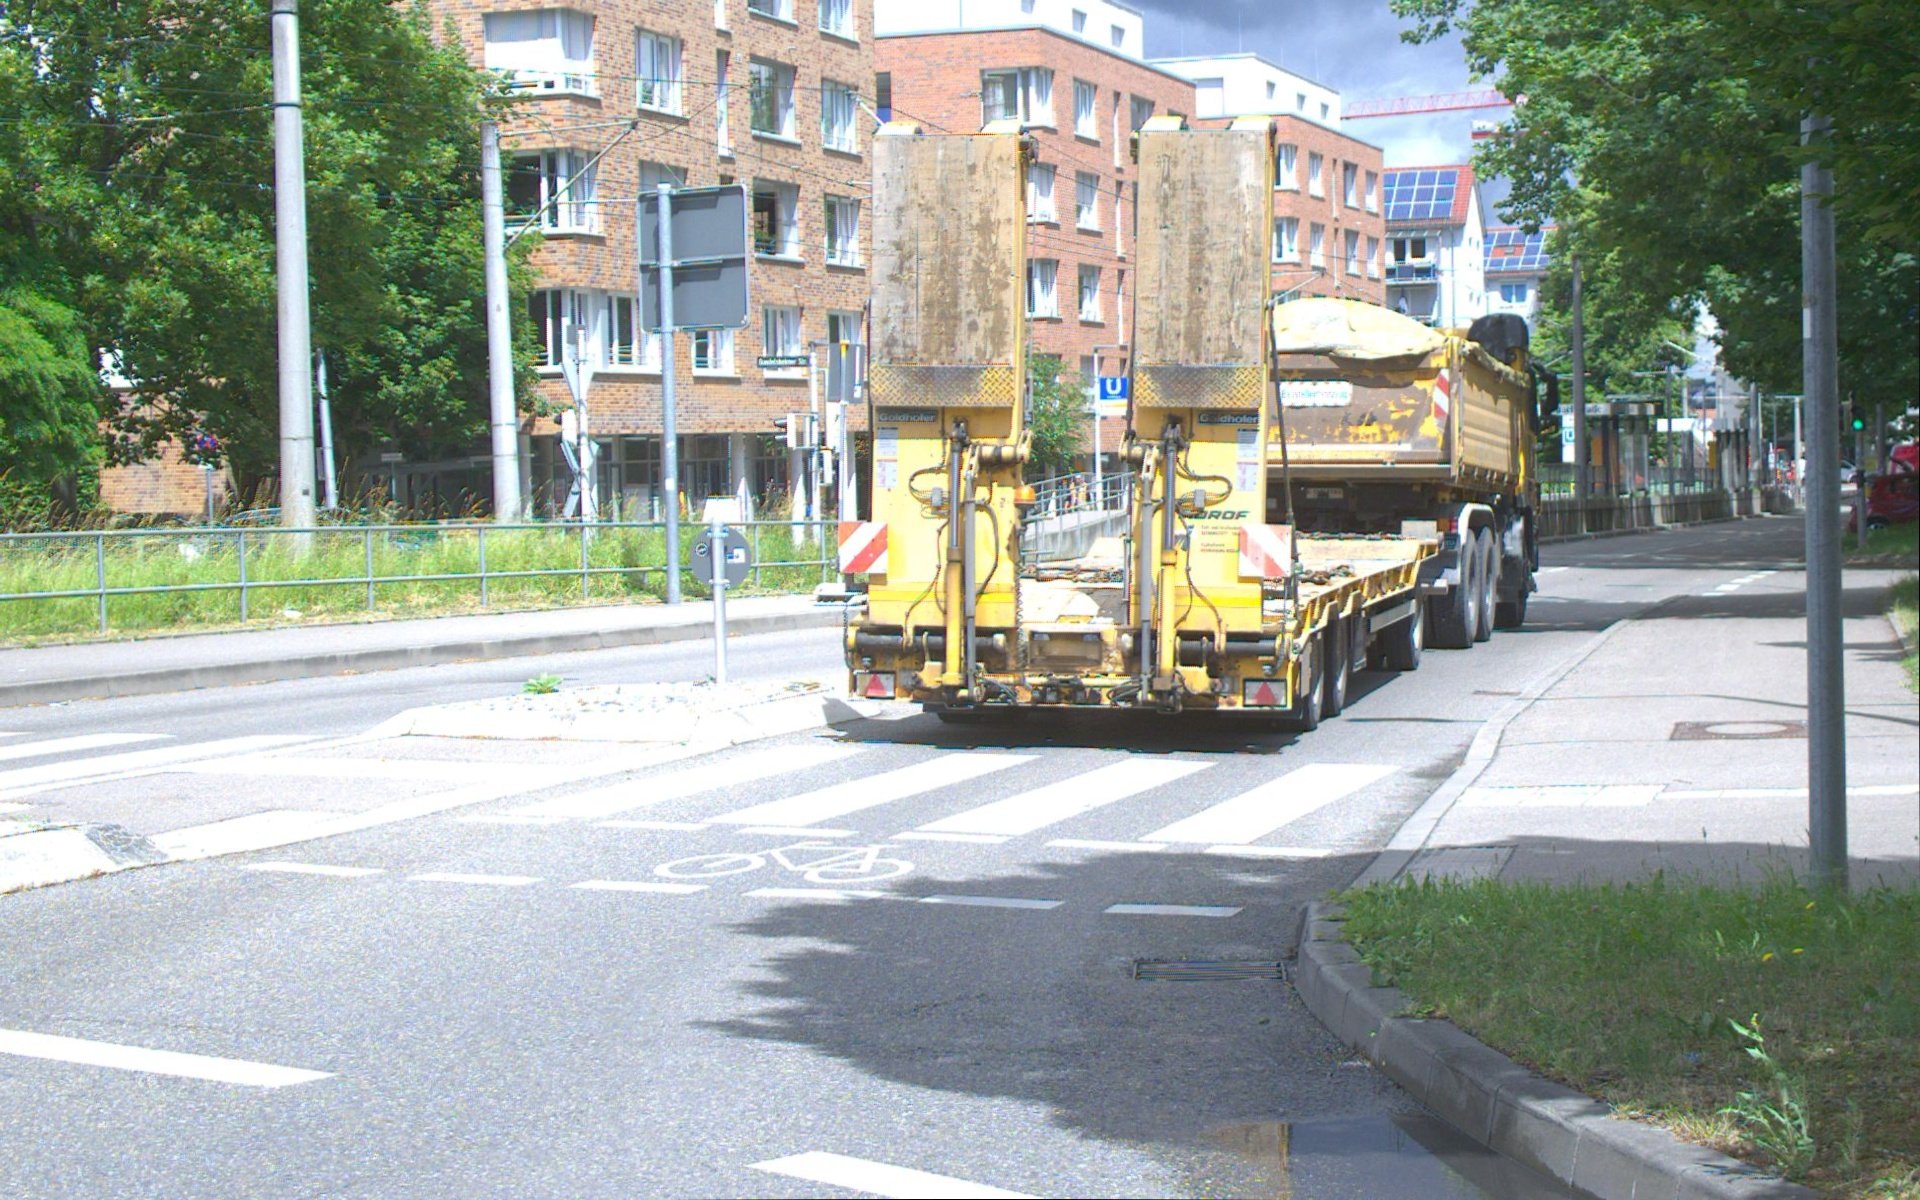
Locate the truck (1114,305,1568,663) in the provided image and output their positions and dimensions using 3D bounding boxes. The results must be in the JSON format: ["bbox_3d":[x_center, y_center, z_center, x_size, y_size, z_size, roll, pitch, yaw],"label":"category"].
[{"bbox_3d":[3.958,-1.267,33.503,2.990,3.024,8.481,0,4,16],"label":"truck"}]

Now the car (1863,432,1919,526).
[{"bbox_3d":[29.841,-3.848,108.447,1.996,2.817,5.110,4,4,20],"label":"car"}]

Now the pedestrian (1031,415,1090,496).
[{"bbox_3d":[2.535,-3.634,86.573,1.138,2.006,0.997,-1,2,23],"label":"pedestrian"}]

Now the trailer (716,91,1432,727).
[{"bbox_3d":[1.313,-1.182,23.957,2.865,3.361,10.835,-1,2,13],"label":"trailer"}]

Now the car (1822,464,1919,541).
[{"bbox_3d":[20.269,-2.052,72.292,3.991,1.506,1.999,1,5,20],"label":"car"}]
